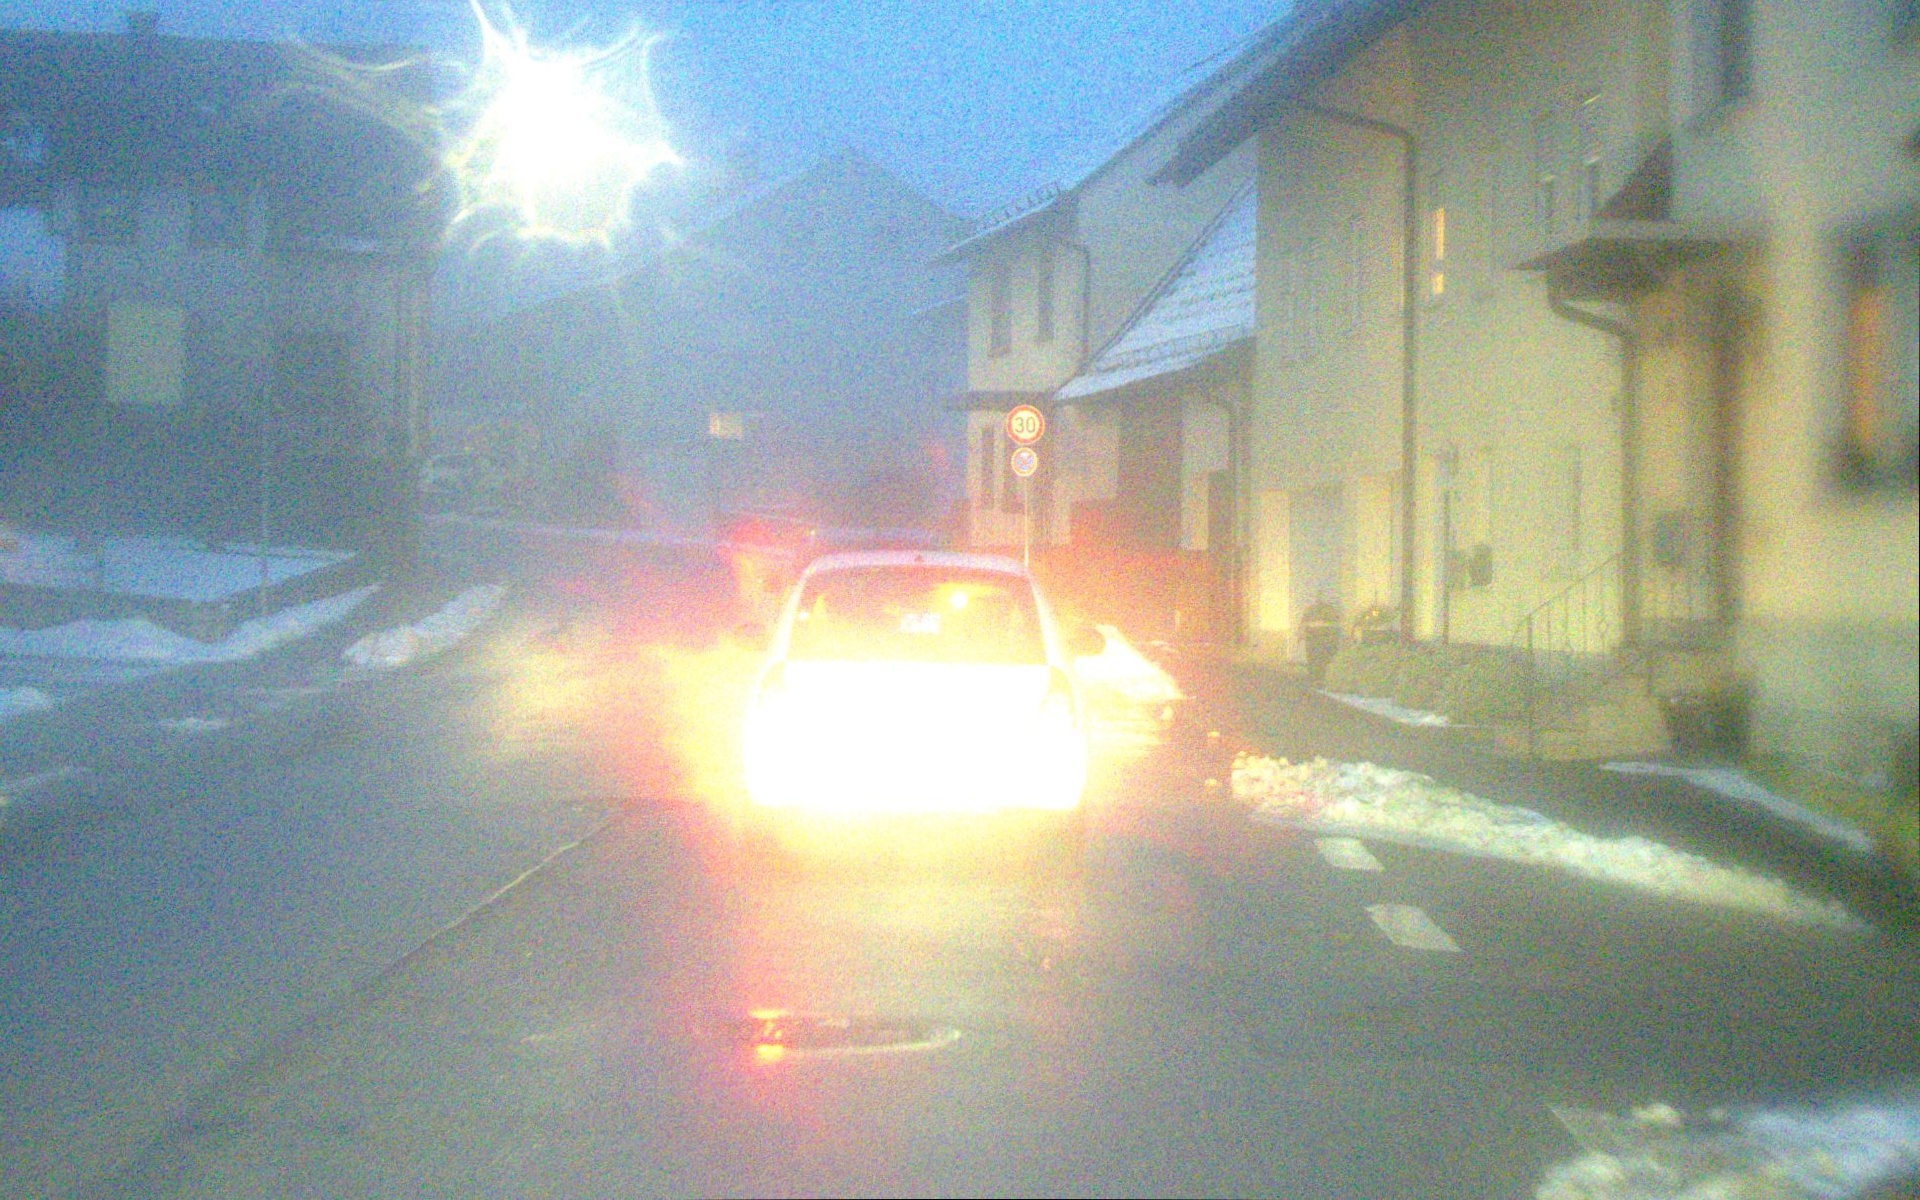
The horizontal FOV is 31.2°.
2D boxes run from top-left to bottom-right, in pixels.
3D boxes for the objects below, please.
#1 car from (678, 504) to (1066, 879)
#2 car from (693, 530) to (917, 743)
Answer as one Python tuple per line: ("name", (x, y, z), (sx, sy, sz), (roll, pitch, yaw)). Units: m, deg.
("car", (-0.441, 0.399, 17.052), (1.645, 1.590, 3.700), (3, 0, -2))
("car", (-1.346, 0.274, 28.551), (1.645, 1.590, 3.700), (3, 0, -5))
